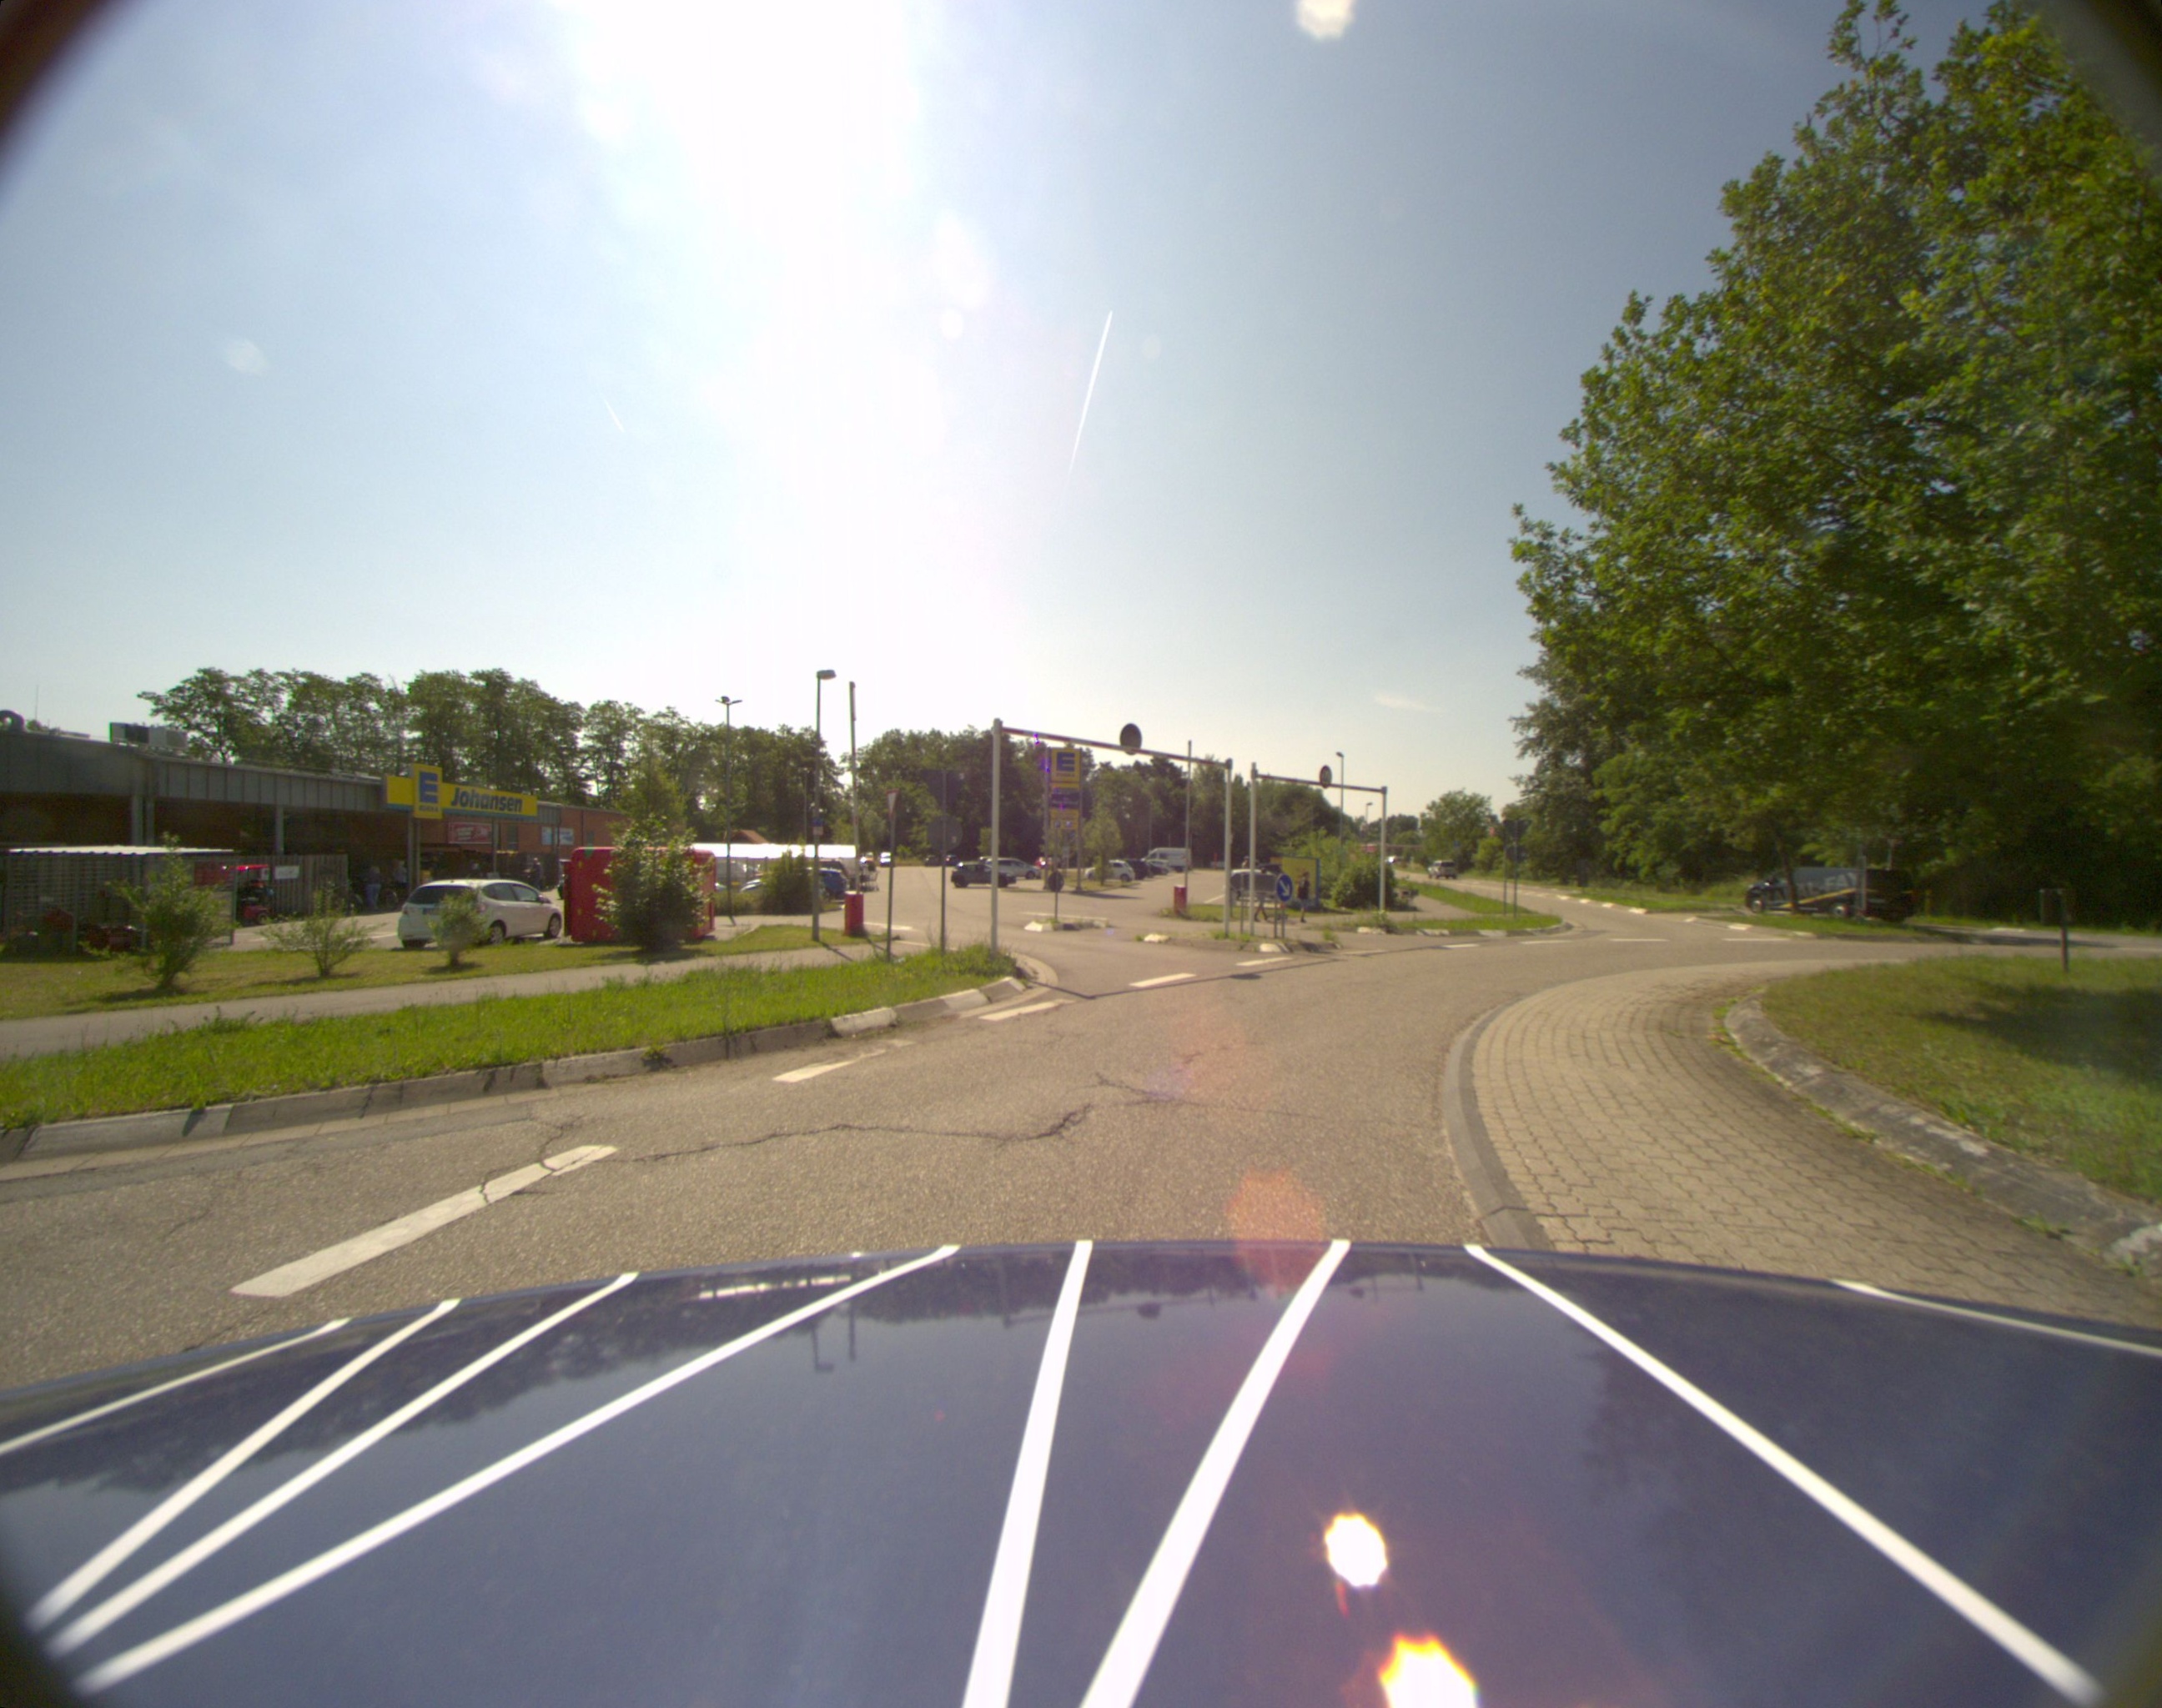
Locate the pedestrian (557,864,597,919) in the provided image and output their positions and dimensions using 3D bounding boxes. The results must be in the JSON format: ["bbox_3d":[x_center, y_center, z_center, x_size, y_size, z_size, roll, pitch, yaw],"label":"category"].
[{"bbox_3d":[-17.293,1.268,26.083,0.772,1.860,0.842,1,0,18],"label":"pedestrian"}]

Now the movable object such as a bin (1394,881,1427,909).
[{"bbox_3d":[14.154,1.746,32.631,0.868,1.114,1.458,0,0,42],"label":"movable object such as a bin"}]

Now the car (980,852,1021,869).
[{"bbox_3d":[-8.020,0.630,75.703,4.000,1.575,1.969,1,0,-8],"label":"car"}]

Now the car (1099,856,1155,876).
[{"bbox_3d":[3.616,0.924,59.927,4.159,1.565,2.002,0,0,11],"label":"car"}]

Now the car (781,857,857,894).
[{"bbox_3d":[-13.843,1.139,40.343,3.492,1.917,1.878,0,0,-6],"label":"car"}]

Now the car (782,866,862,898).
[{"bbox_3d":[-12.876,1.387,37.916,3.492,1.489,1.715,0,0,-6],"label":"car"}]

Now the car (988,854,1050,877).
[{"bbox_3d":[-4.903,0.871,59.808,4.562,1.692,1.997,-1,1,-13],"label":"car"}]

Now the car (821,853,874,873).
[{"bbox_3d":[-19.709,0.758,64.205,4.000,1.652,1.999,0,0,-7],"label":"car"}]

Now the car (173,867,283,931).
[{"bbox_3d":[-23.242,1.199,20.778,1.131,1.626,1.827,0,0,-12],"label":"car"}]

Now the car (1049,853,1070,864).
[{"bbox_3d":[-2.893,0.584,102.692,2.072,1.477,3.995,1,0,-12],"label":"car"}]

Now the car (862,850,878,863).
[{"bbox_3d":[-26.853,0.306,96.850,1.797,1.587,4.255,1,1,-13],"label":"car"}]

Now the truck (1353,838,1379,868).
[{"bbox_3d":[37.498,-0.127,100.076,2.716,3.892,5.959,1,0,17],"label":"truck"}]

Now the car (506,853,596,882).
[{"bbox_3d":[-31.864,0.780,45.804,4.003,1.674,1.997,1,0,-17],"label":"car"}]

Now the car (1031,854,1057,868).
[{"bbox_3d":[-4.306,0.793,88.608,2.001,1.457,4.487,1,1,-16],"label":"car"}]

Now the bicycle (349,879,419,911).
[{"bbox_3d":[-24.681,1.446,26.916,2.074,1.036,0.553,1,1,4],"label":"bicycle"}]

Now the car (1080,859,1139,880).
[{"bbox_3d":[2.049,1.091,54.803,3.992,1.433,1.652,1,0,13],"label":"car"}]

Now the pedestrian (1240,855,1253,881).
[{"bbox_3d":[11.657,0.984,53.512,0.819,1.787,0.867,1,1,15],"label":"pedestrian"}]

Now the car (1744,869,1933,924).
[{"bbox_3d":[26.694,1.417,27.085,2.100,1.704,4.718,0,0,1],"label":"car"}]

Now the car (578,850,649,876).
[{"bbox_3d":[-33.927,0.643,55.223,4.003,1.805,1.997,1,1,-17],"label":"car"}]

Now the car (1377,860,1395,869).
[{"bbox_3d":[46.586,1.569,115.936,1.835,1.379,4.428,2,0,13],"label":"car"}]

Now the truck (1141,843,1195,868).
[{"bbox_3d":[9.554,0.196,83.299,5.607,2.590,2.205,1,1,13],"label":"truck"}]

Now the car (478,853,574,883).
[{"bbox_3d":[-31.705,0.802,43.517,4.003,1.674,1.997,1,0,-17],"label":"car"}]

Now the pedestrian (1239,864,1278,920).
[{"bbox_3d":[5.821,1.215,24.936,0.844,1.775,0.878,0,0,-37],"label":"pedestrian"}]

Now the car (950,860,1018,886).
[{"bbox_3d":[-6.070,1.165,47.919,3.996,1.579,1.662,1,0,3],"label":"car"}]

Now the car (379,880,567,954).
[{"bbox_3d":[-13.674,1.351,17.398,1.726,1.437,3.769,1,-1,-10],"label":"car"}]

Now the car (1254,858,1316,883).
[{"bbox_3d":[14.230,1.125,53.080,4.124,1.618,1.754,1,0,15],"label":"car"}]

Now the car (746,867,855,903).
[{"bbox_3d":[-12.755,1.384,34.769,4.428,1.562,1.715,0,0,-9],"label":"car"}]

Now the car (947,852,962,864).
[{"bbox_3d":[-16.582,0.475,99.302,1.663,1.477,4.367,1,1,-12],"label":"car"}]

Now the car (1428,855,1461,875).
[{"bbox_3d":[34.757,0.988,72.777,1.896,1.805,4.601,1,0,14],"label":"car"}]

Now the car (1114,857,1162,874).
[{"bbox_3d":[4.930,0.974,65.034,3.994,1.419,1.750,1,0,7],"label":"car"}]

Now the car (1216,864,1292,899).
[{"bbox_3d":[8.678,1.366,38.068,3.598,1.553,1.816,2,0,14],"label":"car"}]

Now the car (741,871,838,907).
[{"bbox_3d":[-12.292,1.460,32.162,3.492,1.449,1.715,0,0,-6],"label":"car"}]

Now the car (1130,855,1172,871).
[{"bbox_3d":[6.672,0.854,73.028,3.970,1.444,1.905,1,0,4],"label":"car"}]

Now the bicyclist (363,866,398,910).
[{"bbox_3d":[-24.833,1.199,26.923,0.677,1.506,0.607,1,1,4],"label":"bicyclist"}]

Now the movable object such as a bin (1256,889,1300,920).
[{"bbox_3d":[6.639,1.687,25.591,1.206,0.949,0.878,0,0,-39],"label":"movable object such as a bin"}]

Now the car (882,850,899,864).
[{"bbox_3d":[-24.354,0.405,97.228,2.072,1.701,3.995,1,0,-12],"label":"car"}]

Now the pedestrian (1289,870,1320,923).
[{"bbox_3d":[7.154,1.343,24.347,0.597,1.638,0.702,0,1,-35],"label":"pedestrian"}]

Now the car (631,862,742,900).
[{"bbox_3d":[-17.500,1.187,33.879,4.001,1.613,1.911,0,0,-11],"label":"car"}]

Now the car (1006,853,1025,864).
[{"bbox_3d":[-8.791,0.615,101.747,2.072,1.477,3.995,1,0,-12],"label":"car"}]

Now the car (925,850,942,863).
[{"bbox_3d":[-19.266,0.314,99.085,2.072,1.701,3.995,1,0,-12],"label":"car"}]
